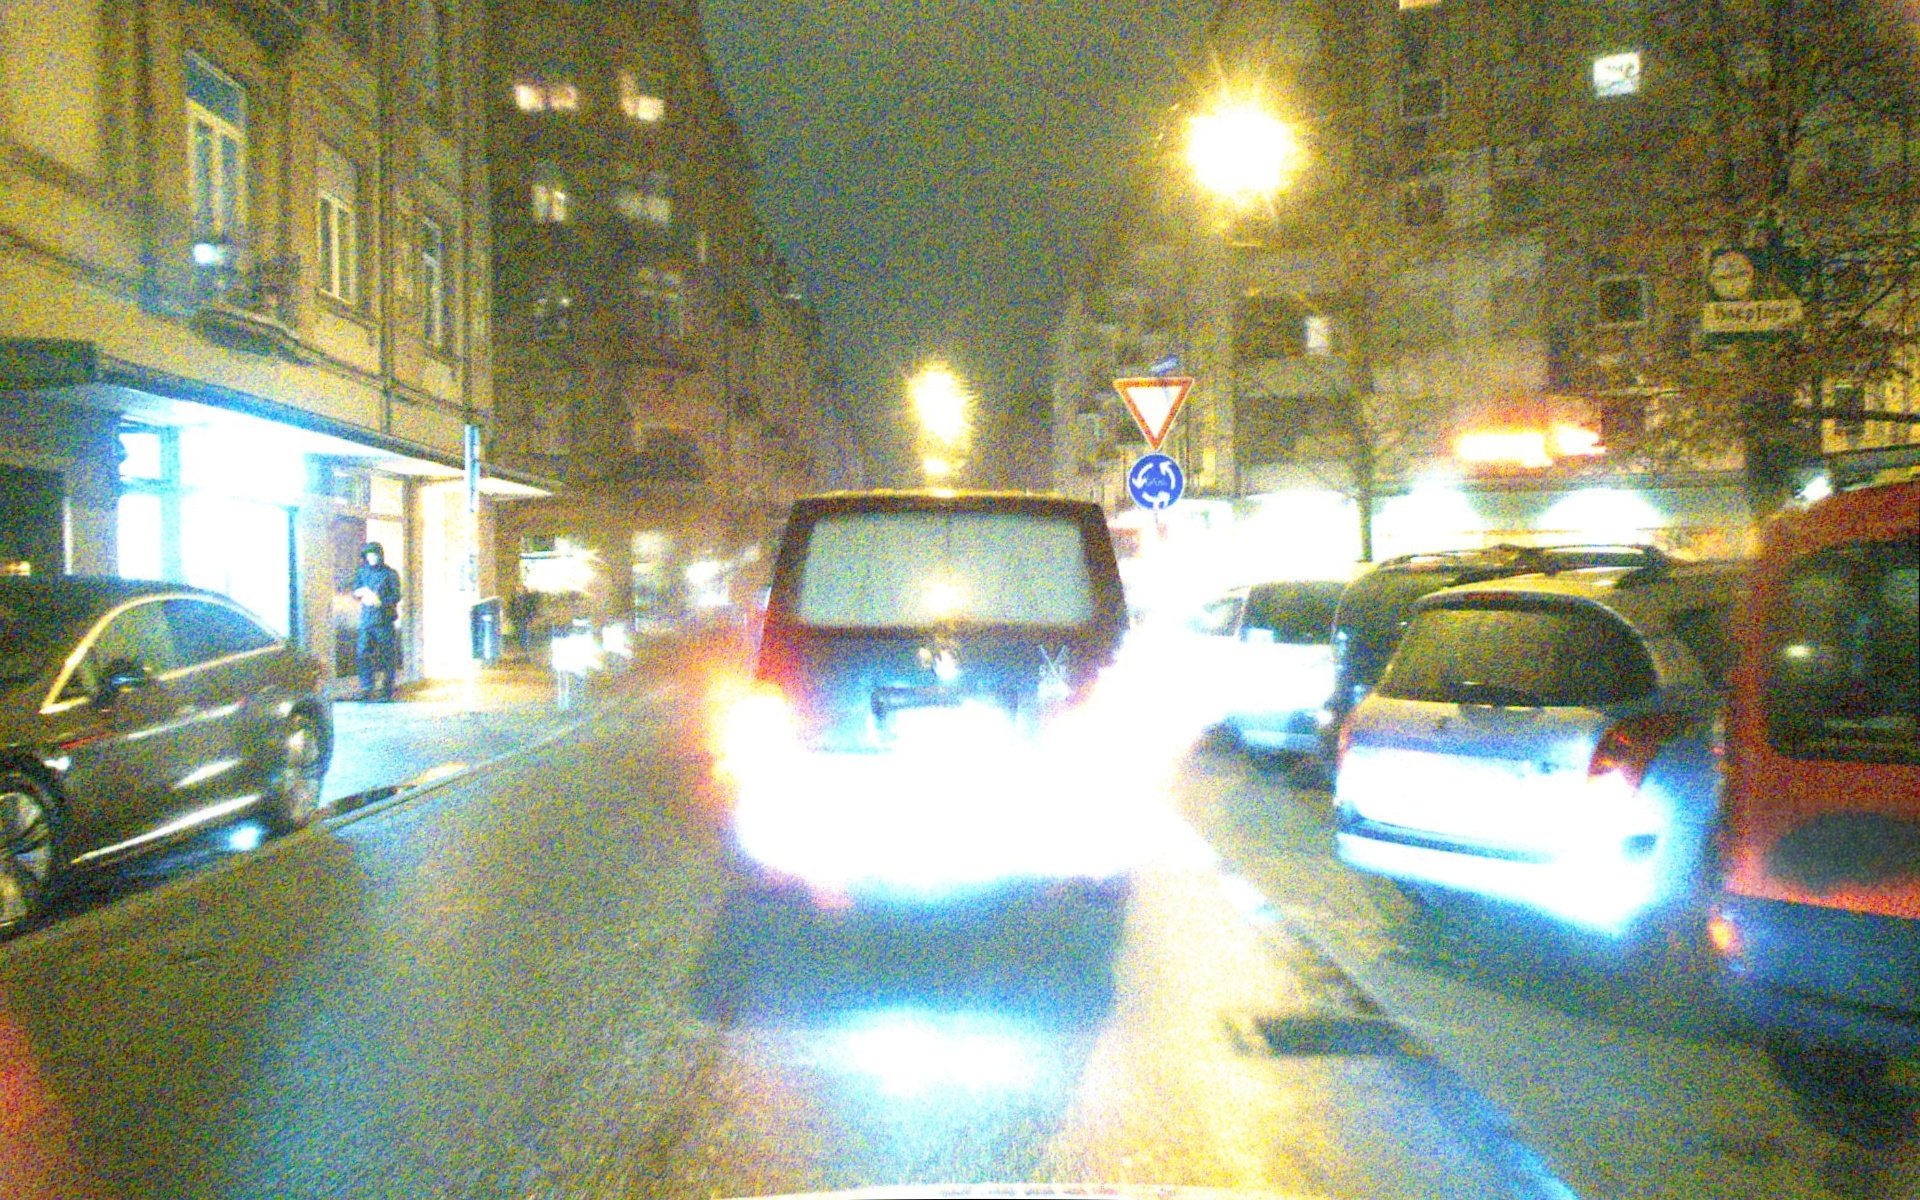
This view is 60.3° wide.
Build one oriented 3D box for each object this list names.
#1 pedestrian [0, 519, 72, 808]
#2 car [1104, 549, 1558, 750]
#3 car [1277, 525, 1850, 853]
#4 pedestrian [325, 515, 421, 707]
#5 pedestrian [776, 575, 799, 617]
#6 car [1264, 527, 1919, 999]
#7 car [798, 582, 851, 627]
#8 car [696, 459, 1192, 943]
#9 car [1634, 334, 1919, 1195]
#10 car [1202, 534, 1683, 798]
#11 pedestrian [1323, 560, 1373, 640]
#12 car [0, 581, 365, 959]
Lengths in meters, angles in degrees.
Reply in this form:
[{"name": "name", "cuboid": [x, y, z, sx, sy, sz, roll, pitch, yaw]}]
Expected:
[{"name": "pedestrian", "cuboid": [-6.781, 0.419, 11.048, 0.936, 1.896, 1.414, -1, 0, -2]}, {"name": "car", "cuboid": [3.638, 0.405, 16.038, 4.204, 1.601, 1.754, -3, 1, -30]}, {"name": "car", "cuboid": [4.050, 0.455, 10.897, 3.752, 1.742, 1.726, -3, 1, -36]}, {"name": "pedestrian", "cuboid": [-7.194, 0.127, 20.314, 0.783, 2.280, 1.116, -1, 0, -2]}, {"name": "pedestrian", "cuboid": [-7.460, -0.171, 71.603, 0.787, 1.797, 1.016, 1, 0, 5]}, {"name": "car", "cuboid": [3.513, 0.520, 7.762, 4.028, 1.625, 1.811, -3, 1, -36]}, {"name": "car", "cuboid": [-4.822, 0.123, 59.218, 1.554, 1.489, 4.023, 2, 0, -1]}, {"name": "car", "cuboid": [-0.094, 0.407, 9.260, 2.079, 2.026, 4.600, 0, 0, -1]}, {"name": "car", "cuboid": [3.856, 0.320, 4.942, 3.700, 2.064, 1.699, -3, 1, -37]}, {"name": "car", "cuboid": [3.893, 0.422, 13.155, 3.699, 1.742, 1.749, -3, 1, -36]}, {"name": "pedestrian", "cuboid": [9.220, -0.003, 39.290, 0.861, 1.865, 0.980, -1, 0, 35]}, {"name": "car", "cuboid": [-4.755, 0.672, 8.255, 1.809, 1.504, 5.030, 0, 0, -1]}]
